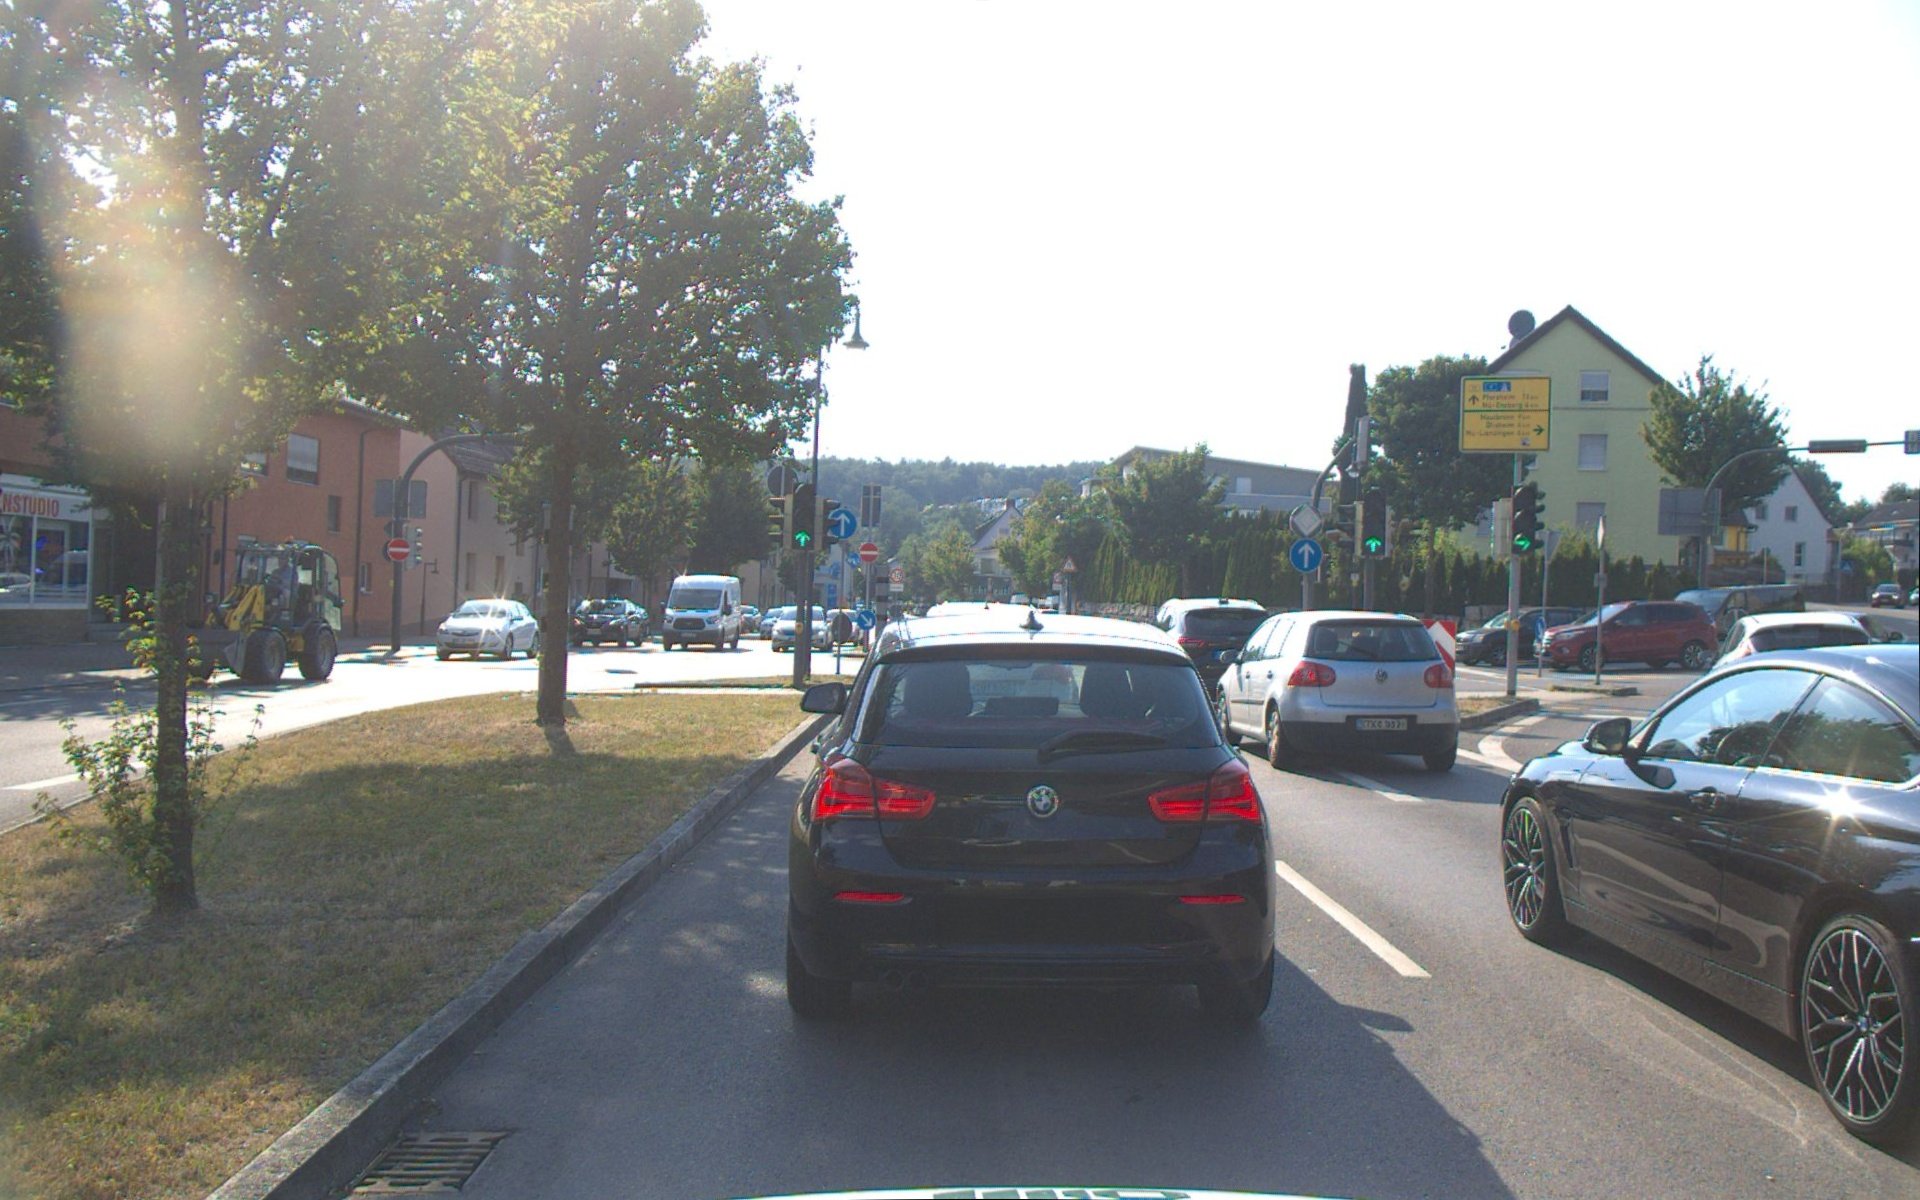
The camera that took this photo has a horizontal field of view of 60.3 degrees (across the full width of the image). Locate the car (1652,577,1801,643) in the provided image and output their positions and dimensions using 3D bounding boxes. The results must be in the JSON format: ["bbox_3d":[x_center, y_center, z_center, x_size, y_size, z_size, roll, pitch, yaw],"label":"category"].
[{"bbox_3d":[21.736,0.290,46.820,4.733,1.770,1.824,1,0,-37],"label":"car"}]

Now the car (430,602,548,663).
[{"bbox_3d":[-11.927,0.801,42.121,1.701,1.323,3.800,5,0,2],"label":"car"}]

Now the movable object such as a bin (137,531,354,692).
[{"bbox_3d":[-11.895,0.188,27.882,1.701,2.485,4.449,0,0,0],"label":"movable object such as a bin"}]

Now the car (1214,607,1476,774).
[{"bbox_3d":[3.735,0.817,16.722,1.725,1.451,3.902,0,0,0],"label":"car"}]

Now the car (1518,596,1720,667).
[{"bbox_3d":[16.332,0.767,41.086,4.333,1.670,1.845,1,0,-8],"label":"car"}]

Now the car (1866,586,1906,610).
[{"bbox_3d":[67.249,-0.141,120.073,1.934,1.709,4.195,0,0,39],"label":"car"}]

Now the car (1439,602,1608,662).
[{"bbox_3d":[15.177,0.845,44.665,3.907,1.515,1.847,1,0,-3],"label":"car"}]

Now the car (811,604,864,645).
[{"bbox_3d":[-4.845,0.951,65.894,1.801,1.508,4.000,1,0,0],"label":"car"}]

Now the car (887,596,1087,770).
[{"bbox_3d":[0.234,0.732,16.755,1.751,1.520,4.280,0,0,0],"label":"car"}]

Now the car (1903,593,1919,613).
[{"bbox_3d":[82.931,0.272,142.830,1.934,1.709,4.195,0,0,39],"label":"car"}]

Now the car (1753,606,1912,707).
[{"bbox_3d":[15.241,0.920,28.772,1.630,1.569,4.377,-1,0,39],"label":"car"}]

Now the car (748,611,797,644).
[{"bbox_3d":[-8.919,1.291,78.958,1.801,1.508,4.000,1,0,0],"label":"car"}]

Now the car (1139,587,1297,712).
[{"bbox_3d":[3.738,0.675,24.575,1.725,1.685,3.902,0,0,0],"label":"car"}]

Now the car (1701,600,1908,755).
[{"bbox_3d":[9.465,0.801,18.760,1.584,1.569,3.318,-1,0,18],"label":"car"}]

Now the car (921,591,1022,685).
[{"bbox_3d":[0.193,0.664,31.079,1.751,1.622,4.280,0,0,0],"label":"car"}]

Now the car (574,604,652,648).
[{"bbox_3d":[-12.148,0.895,58.049,1.701,1.323,3.800,5,0,2],"label":"car"}]

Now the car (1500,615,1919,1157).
[{"bbox_3d":[3.472,0.796,5.836,1.725,1.422,4.280,0,0,0],"label":"car"}]

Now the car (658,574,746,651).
[{"bbox_3d":[-8.686,0.408,56.189,2.042,2.435,5.528,1,0,0],"label":"car"}]

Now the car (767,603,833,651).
[{"bbox_3d":[-5.297,0.882,55.242,1.801,1.508,4.000,1,0,0],"label":"car"}]

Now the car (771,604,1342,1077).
[{"bbox_3d":[0.296,0.745,7.243,1.751,1.422,4.280,0,0,0],"label":"car"}]
